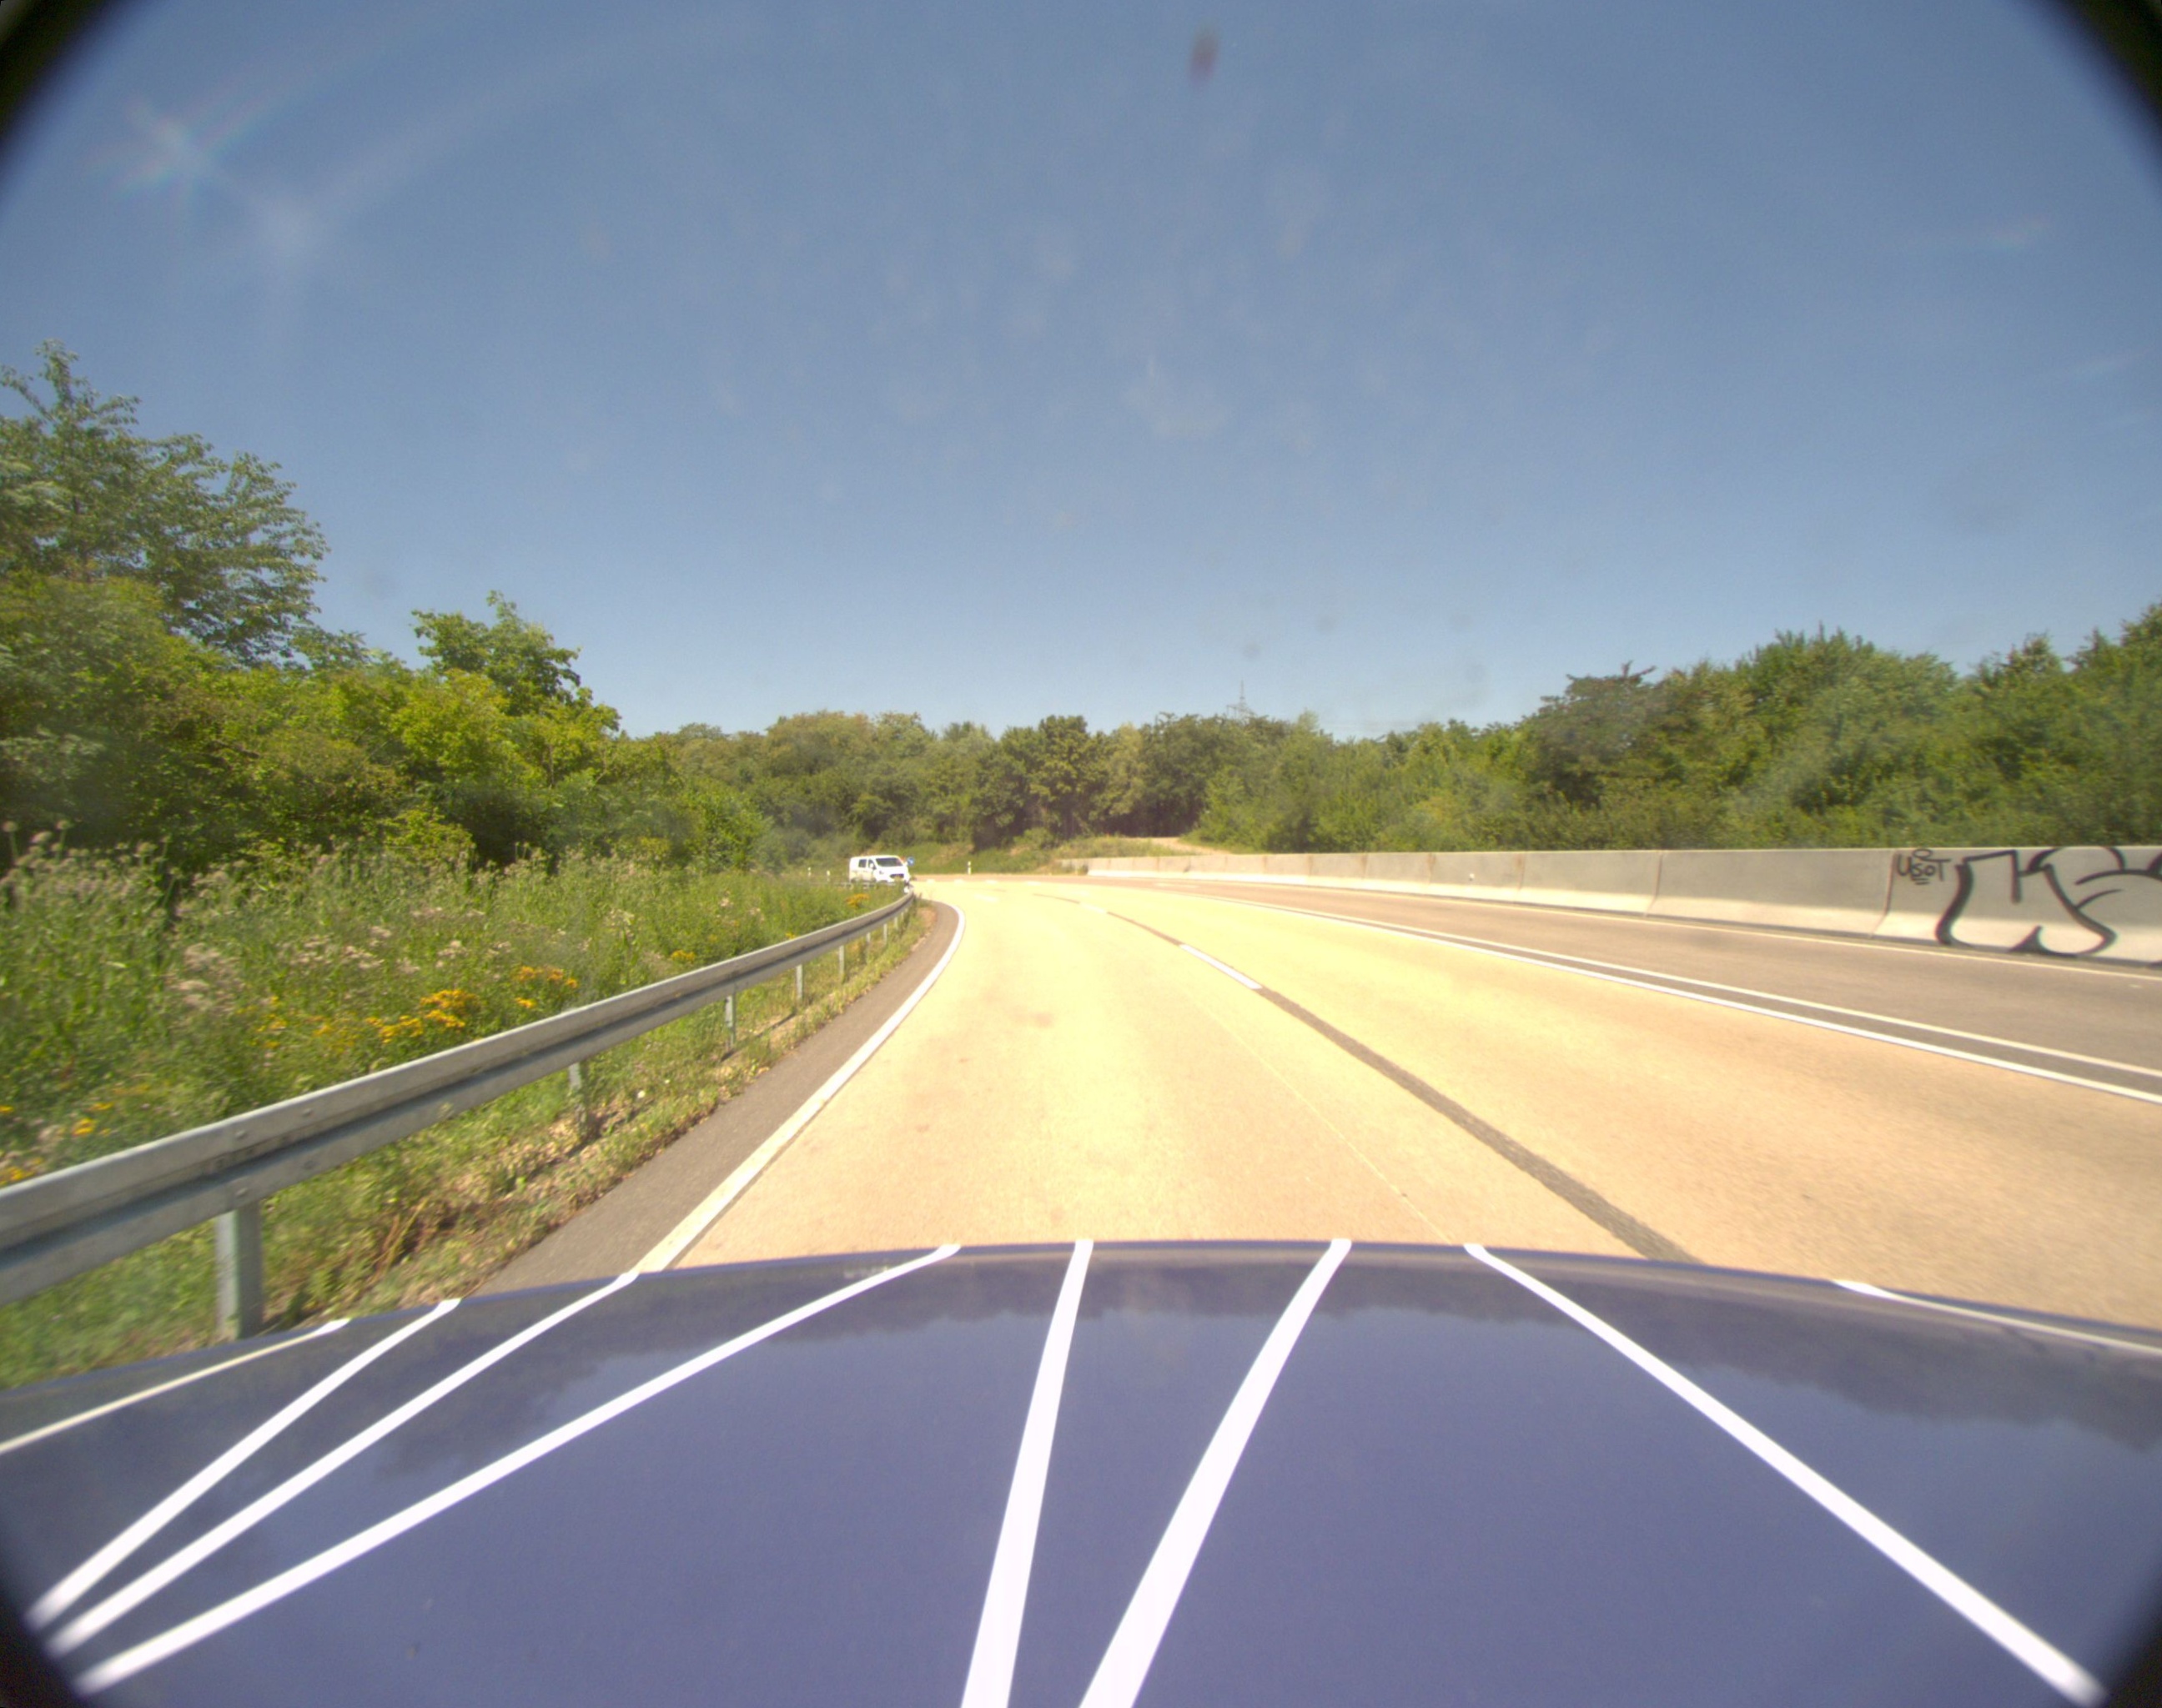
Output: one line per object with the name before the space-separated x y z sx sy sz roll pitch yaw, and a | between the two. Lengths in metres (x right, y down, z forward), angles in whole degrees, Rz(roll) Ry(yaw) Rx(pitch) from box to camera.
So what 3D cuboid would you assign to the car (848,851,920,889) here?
car | -11.684 0.923 44.877 2.067 2.002 5.027 -4 2 -39
